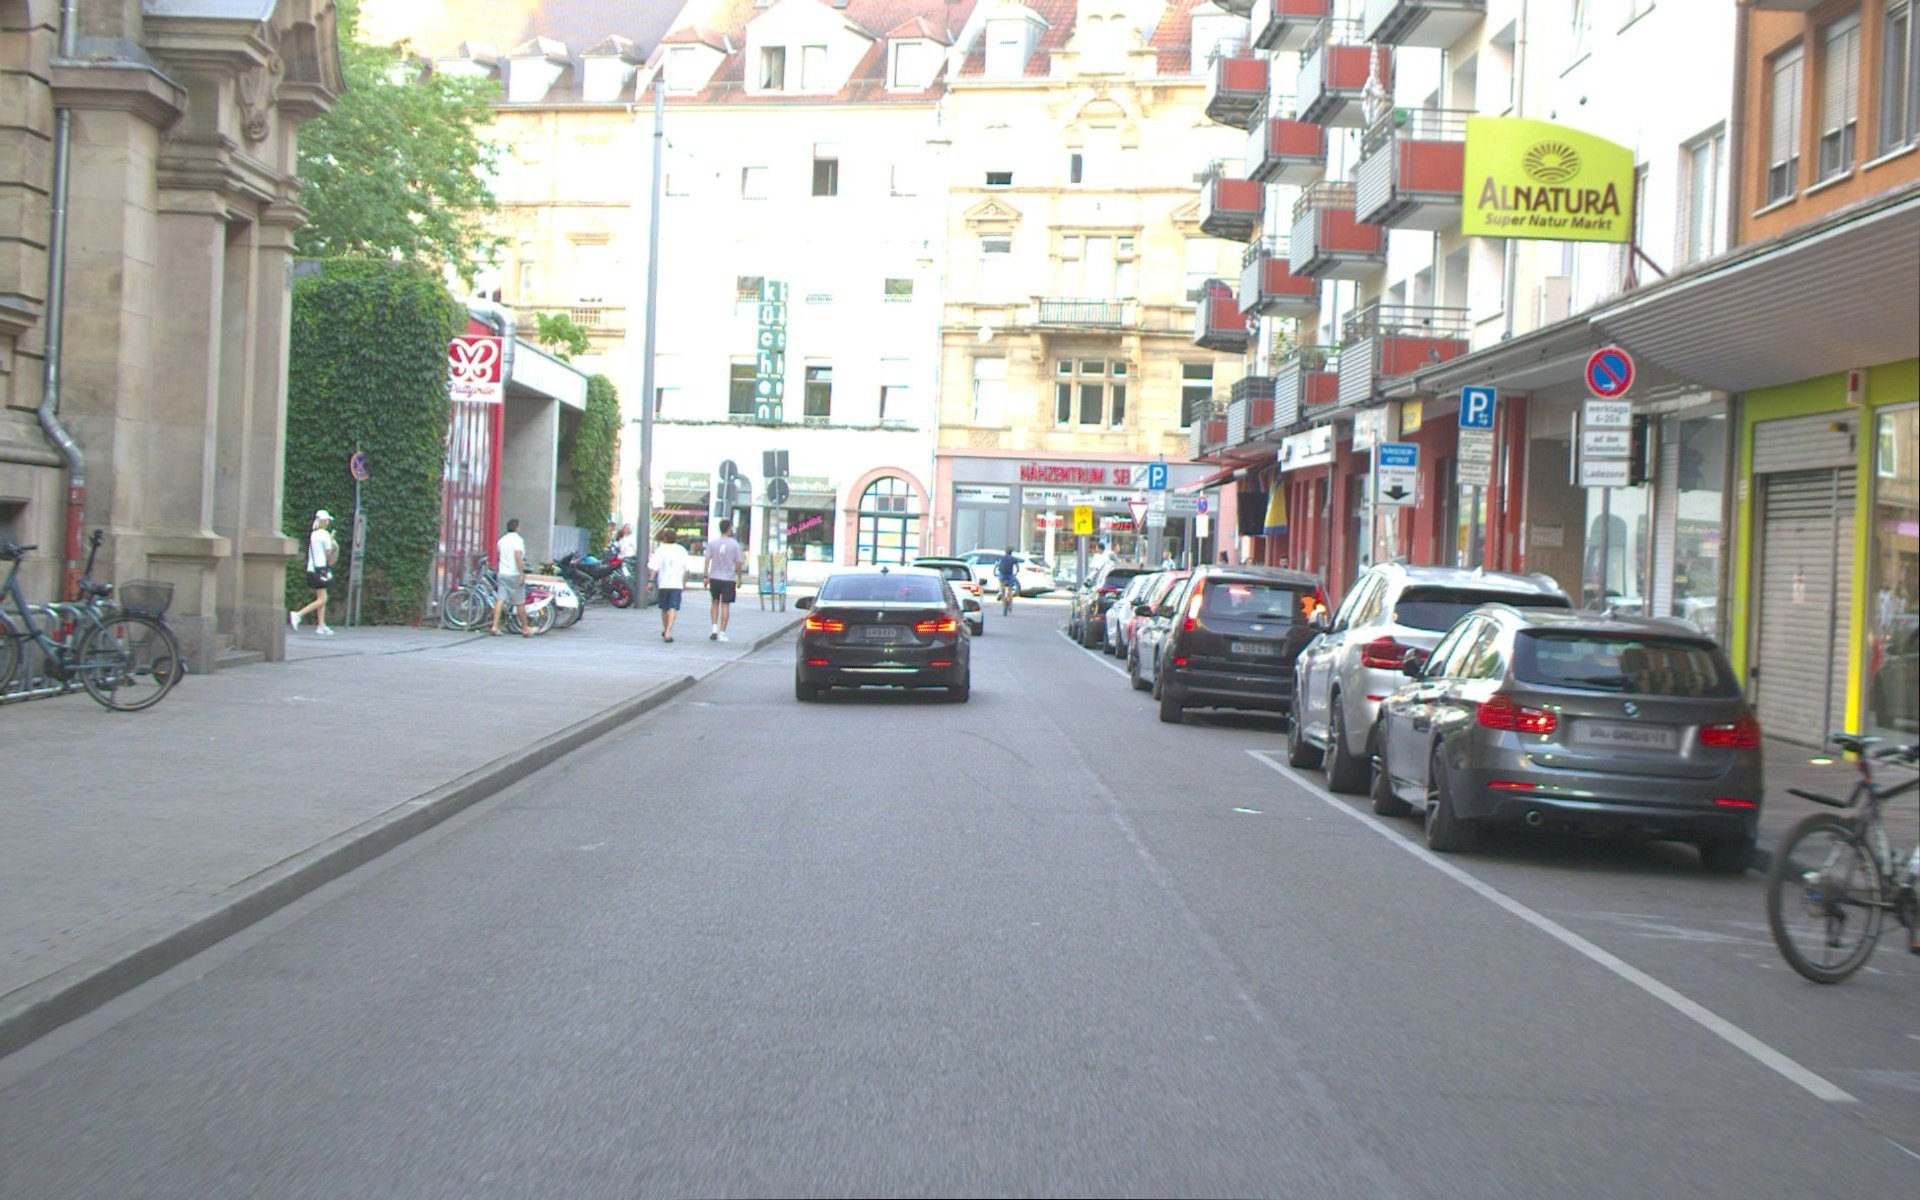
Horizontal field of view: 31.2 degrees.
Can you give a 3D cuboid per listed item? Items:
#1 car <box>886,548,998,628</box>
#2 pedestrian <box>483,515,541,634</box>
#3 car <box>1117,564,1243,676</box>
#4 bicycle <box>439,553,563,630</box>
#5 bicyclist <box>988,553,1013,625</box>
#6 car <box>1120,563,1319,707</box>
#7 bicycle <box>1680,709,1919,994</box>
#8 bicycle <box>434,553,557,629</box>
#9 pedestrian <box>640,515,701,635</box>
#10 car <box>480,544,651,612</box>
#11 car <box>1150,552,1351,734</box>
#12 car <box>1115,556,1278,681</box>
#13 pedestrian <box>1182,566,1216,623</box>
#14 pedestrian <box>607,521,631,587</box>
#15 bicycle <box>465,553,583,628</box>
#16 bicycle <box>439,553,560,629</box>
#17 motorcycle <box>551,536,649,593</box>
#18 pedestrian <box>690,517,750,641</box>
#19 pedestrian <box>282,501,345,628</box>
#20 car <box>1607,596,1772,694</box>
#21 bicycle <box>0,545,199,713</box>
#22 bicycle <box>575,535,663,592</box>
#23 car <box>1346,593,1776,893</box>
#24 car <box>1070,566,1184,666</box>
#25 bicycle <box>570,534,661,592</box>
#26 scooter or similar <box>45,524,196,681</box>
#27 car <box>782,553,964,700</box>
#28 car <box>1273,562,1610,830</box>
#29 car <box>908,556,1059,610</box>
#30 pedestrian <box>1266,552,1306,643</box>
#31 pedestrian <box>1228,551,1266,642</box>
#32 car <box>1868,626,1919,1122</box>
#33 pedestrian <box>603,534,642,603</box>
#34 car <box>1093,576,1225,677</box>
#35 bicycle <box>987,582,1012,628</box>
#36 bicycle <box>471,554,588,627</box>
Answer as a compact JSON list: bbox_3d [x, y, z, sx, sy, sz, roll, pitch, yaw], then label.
[{"bbox_3d":[-0.320,-0.261,67.208,1.878,1.468,4.000,2,1,3],"label":"car"},{"bbox_3d":[-6.755,-0.391,51.853,0.717,1.748,0.848,2,1,-1],"label":"pedestrian"},{"bbox_3d":[3.346,0.280,52.853,1.606,1.507,4.048,5,1,1],"label":"car"},{"bbox_3d":[-7.099,-0.132,53.197,1.794,1.104,0.500,3,1,0],"label":"bicycle"},{"bbox_3d":[1.008,-0.276,85.799,0.523,1.750,0.620,3,0,1],"label":"bicyclist"},{"bbox_3d":[2.986,0.364,40.456,1.736,1.410,4.683,4,1,-2],"label":"car"},{"bbox_3d":[3.773,1.008,14.056,1.732,1.052,0.659,3,1,-42],"label":"bicycle"},{"bbox_3d":[-7.230,-0.145,53.542,1.794,1.104,0.500,3,1,-1],"label":"bicycle"},{"bbox_3d":[-4.527,-0.393,53.808,0.741,1.806,1.009,4,1,-1],"label":"pedestrian"},{"bbox_3d":[-9.516,-0.541,82.800,3.986,1.496,1.892,2,1,-8],"label":"car"},{"bbox_3d":[2.935,0.381,35.079,1.794,1.604,4.486,5,1,4],"label":"car"},{"bbox_3d":[3.270,0.218,48.318,1.712,1.507,4.652,4,1,-2],"label":"car"},{"bbox_3d":[5.440,-0.116,78.265,0.687,1.282,0.608,1,0,9],"label":"pedestrian"},{"bbox_3d":[-8.529,-1.143,86.055,0.500,1.637,0.520,2,1,2],"label":"pedestrian"},{"bbox_3d":[-7.062,-0.157,55.719,1.794,1.104,0.500,3,1,3],"label":"bicycle"},{"bbox_3d":[-7.236,-0.146,54.078,1.794,1.104,0.500,3,1,-1],"label":"bicycle"},{"bbox_3d":[-7.377,-0.730,70.498,1.803,1.060,0.763,4,1,26],"label":"motorcycle"},{"bbox_3d":[-3.774,-0.334,54.126,0.744,1.887,1.050,3,1,0],"label":"pedestrian"},{"bbox_3d":[-9.112,-0.499,48.476,0.649,1.744,0.986,3,1,-1],"label":"pedestrian"},{"bbox_3d":[11.123,0.658,52.661,1.740,1.332,4.000,2,1,2],"label":"car"},{"bbox_3d":[-6.544,0.178,24.777,1.936,1.058,0.620,6,-1,-15],"label":"bicycle"},{"bbox_3d":[-7.258,-0.776,73.275,1.794,1.104,0.500,4,1,-5],"label":"bicycle"},{"bbox_3d":[3.501,0.764,20.866,1.691,1.410,4.756,5,1,0],"label":"car"},{"bbox_3d":[3.103,0.268,64.571,1.765,1.636,4.791,5,1,0],"label":"car"},{"bbox_3d":[-7.274,-0.771,72.525,1.794,1.104,0.500,4,1,2],"label":"bicycle"},{"bbox_3d":[-6.967,0.020,28.563,1.132,1.228,0.497,3,1,-12],"label":"scooter or similar"},{"bbox_3d":[-0.875,0.238,37.028,1.765,1.370,4.791,3,1,0],"label":"car"},{"bbox_3d":[3.500,0.629,25.833,1.752,1.662,4.756,5,1,0],"label":"car"},{"bbox_3d":[0.740,-0.527,108.659,4.357,1.557,1.866,2,0,22],"label":"car"},{"bbox_3d":[6.014,-0.047,63.441,0.648,1.655,0.794,-1,0,2],"label":"pedestrian"},{"bbox_3d":[5.297,-0.069,63.438,0.648,1.655,0.655,-1,0,2],"label":"pedestrian"},{"bbox_3d":[3.738,0.898,8.013,1.691,1.406,4.640,4,1,-3],"label":"car"},{"bbox_3d":[-8.596,-0.805,87.621,0.673,1.740,0.655,2,1,40],"label":"pedestrian"},{"bbox_3d":[3.313,0.414,58.034,1.698,1.447,4.459,4,1,-2],"label":"car"},{"bbox_3d":[0.993,0.119,85.825,0.536,1.104,1.800,3,1,1],"label":"bicycle"},{"bbox_3d":[-7.050,-0.161,56.351,1.794,1.104,0.500,3,1,3],"label":"bicycle"}]
